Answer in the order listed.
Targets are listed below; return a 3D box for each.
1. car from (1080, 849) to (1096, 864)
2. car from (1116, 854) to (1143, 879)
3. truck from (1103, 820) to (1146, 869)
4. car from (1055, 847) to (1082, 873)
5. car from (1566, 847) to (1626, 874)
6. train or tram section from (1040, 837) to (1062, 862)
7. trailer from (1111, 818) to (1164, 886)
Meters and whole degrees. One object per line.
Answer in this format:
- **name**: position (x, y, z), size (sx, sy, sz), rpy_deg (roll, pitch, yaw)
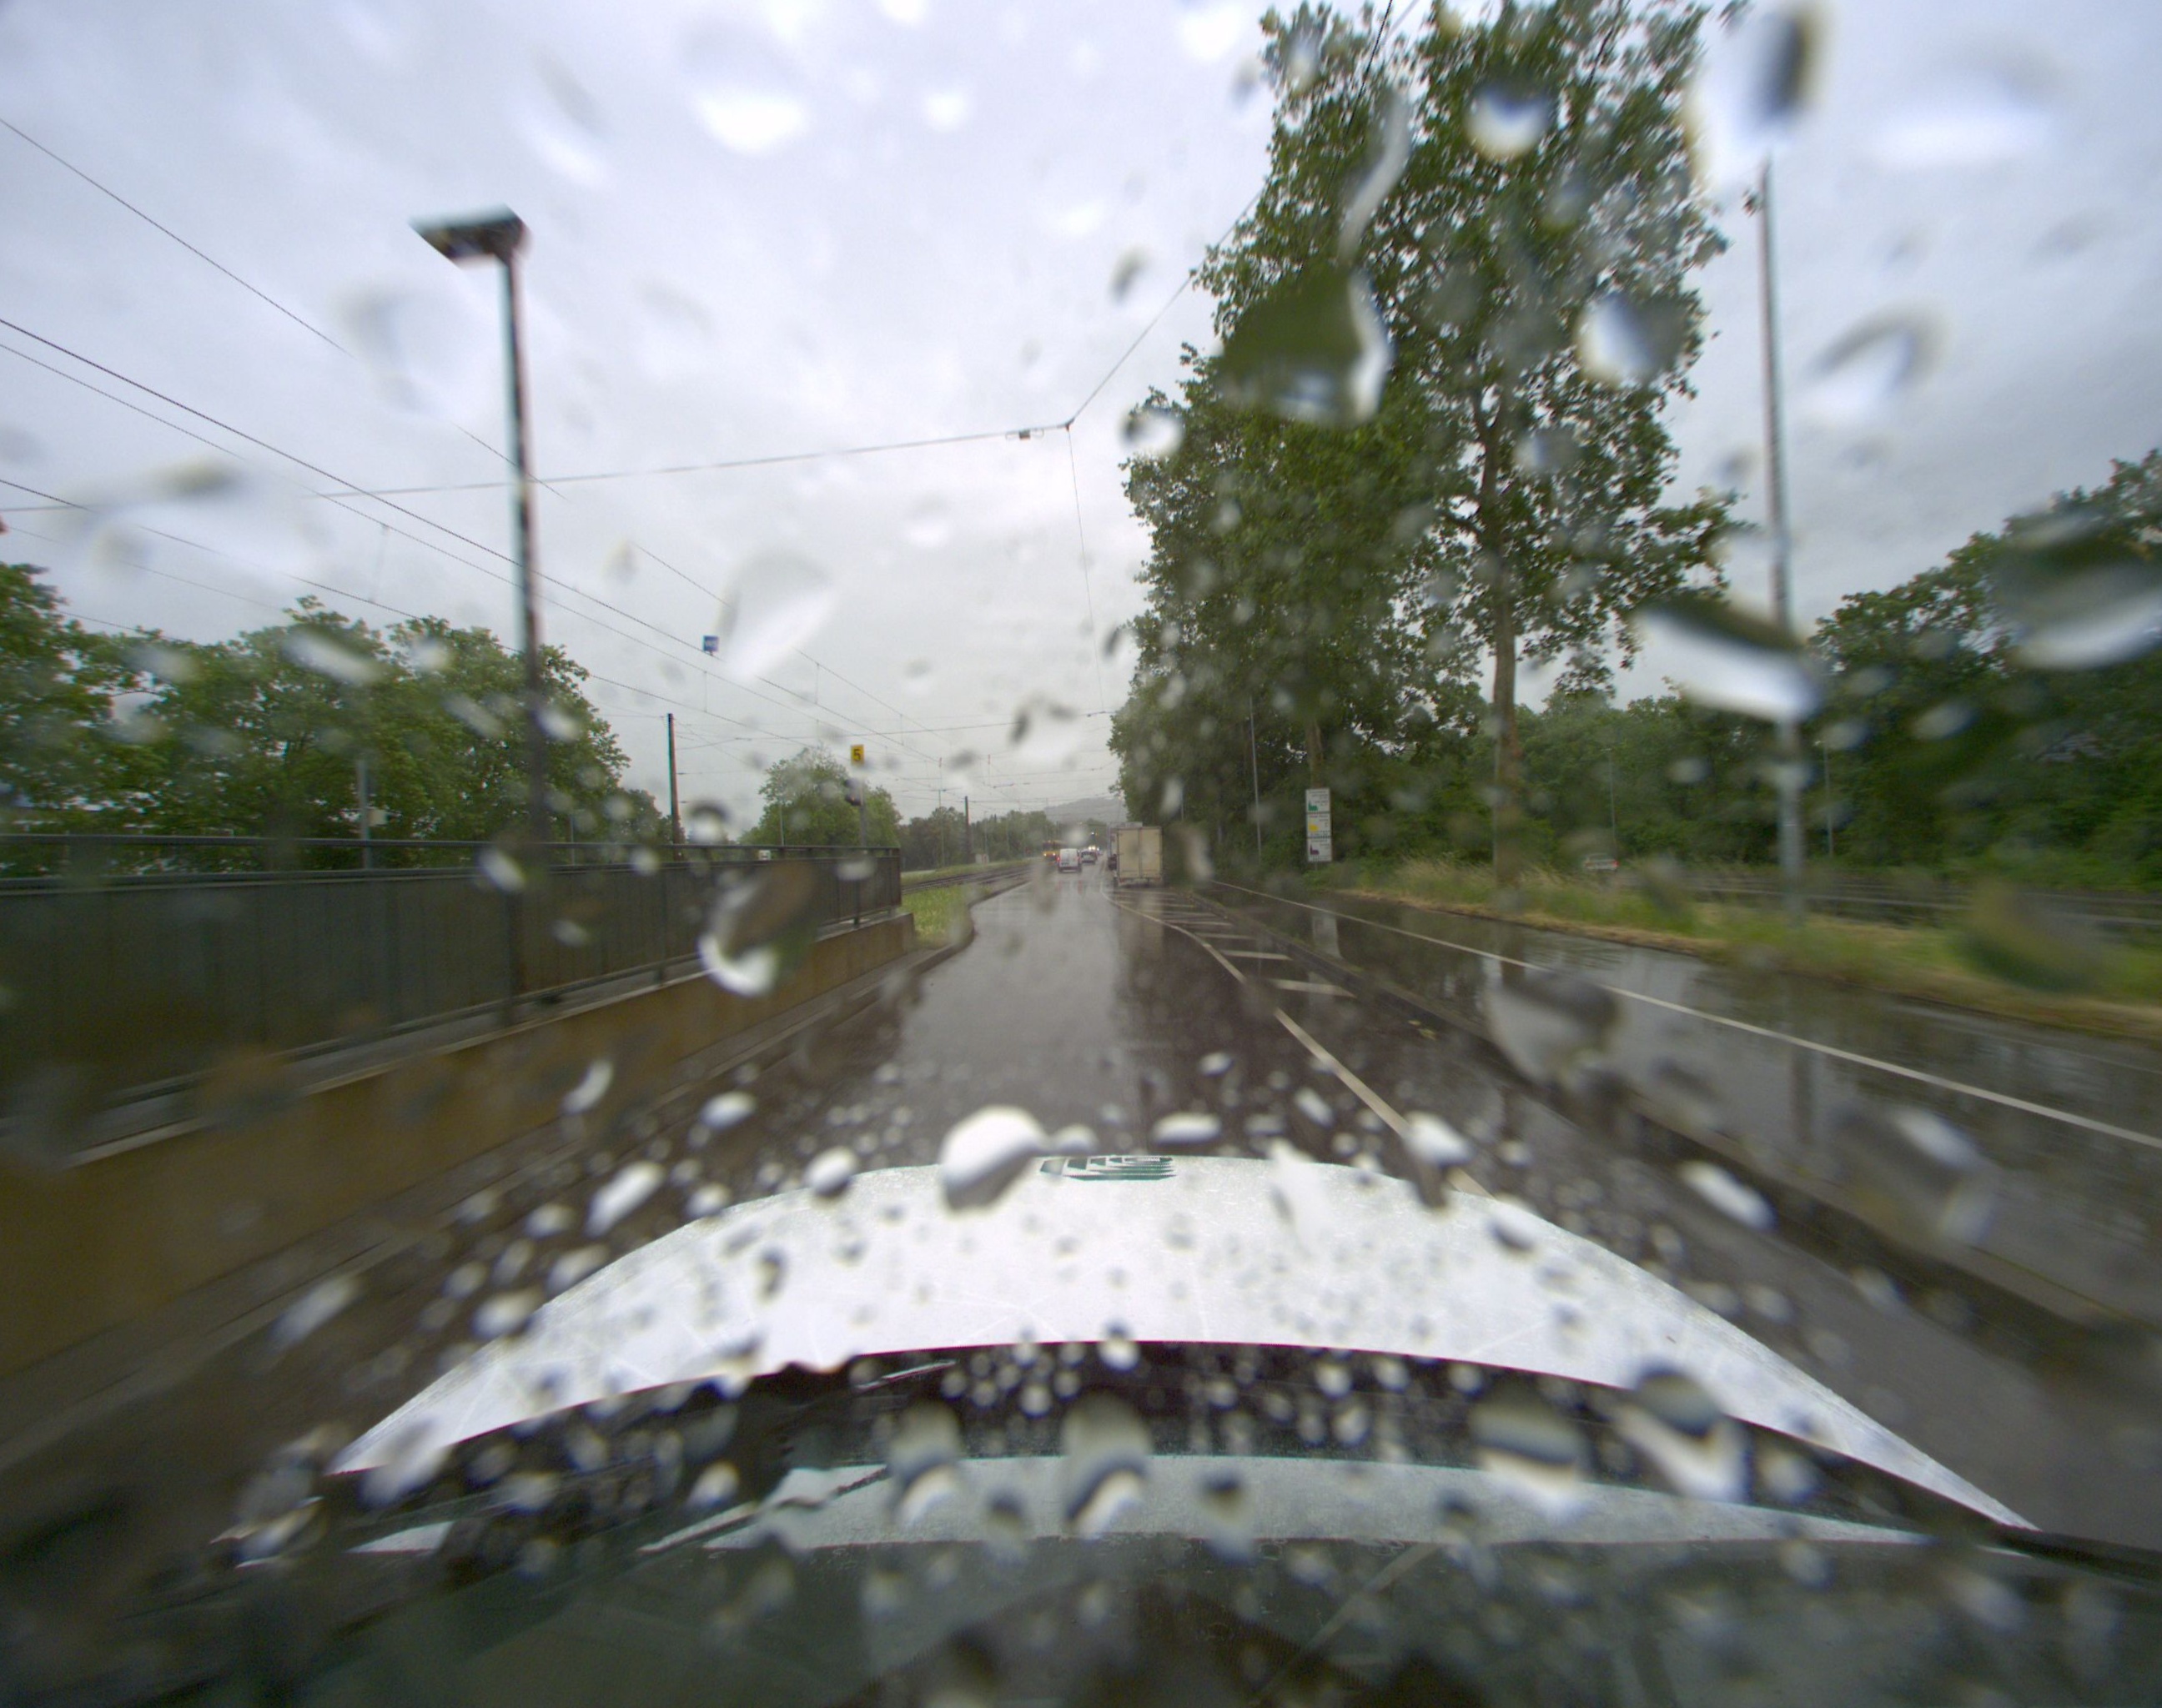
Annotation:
- **car**: position (0.830, 0.293, 93.395), size (1.780, 1.642, 3.969), rpy_deg (-2, -1, 2)
- **car**: position (3.306, 0.818, 55.195), size (1.706, 1.529, 4.005), rpy_deg (-2, 0, 4)
- **truck**: position (3.530, -0.693, 68.132), size (2.768, 3.704, 9.846), rpy_deg (-2, -1, -1)
- **car**: position (-1.006, 0.460, 62.695), size (1.988, 1.849, 3.997), rpy_deg (-2, 0, -2)
- **car**: position (30.227, 0.366, 47.893), size (1.874, 1.431, 4.017), rpy_deg (-2, 0, 15)
- **train or tram section**: position (-5.200, -0.794, 143.181), size (2.796, 4.149, 13.026), rpy_deg (-2, 0, 2)
- **trailer**: position (2.573, -0.055, 36.966), size (2.156, 2.757, 5.683), rpy_deg (-2, -1, 4)
